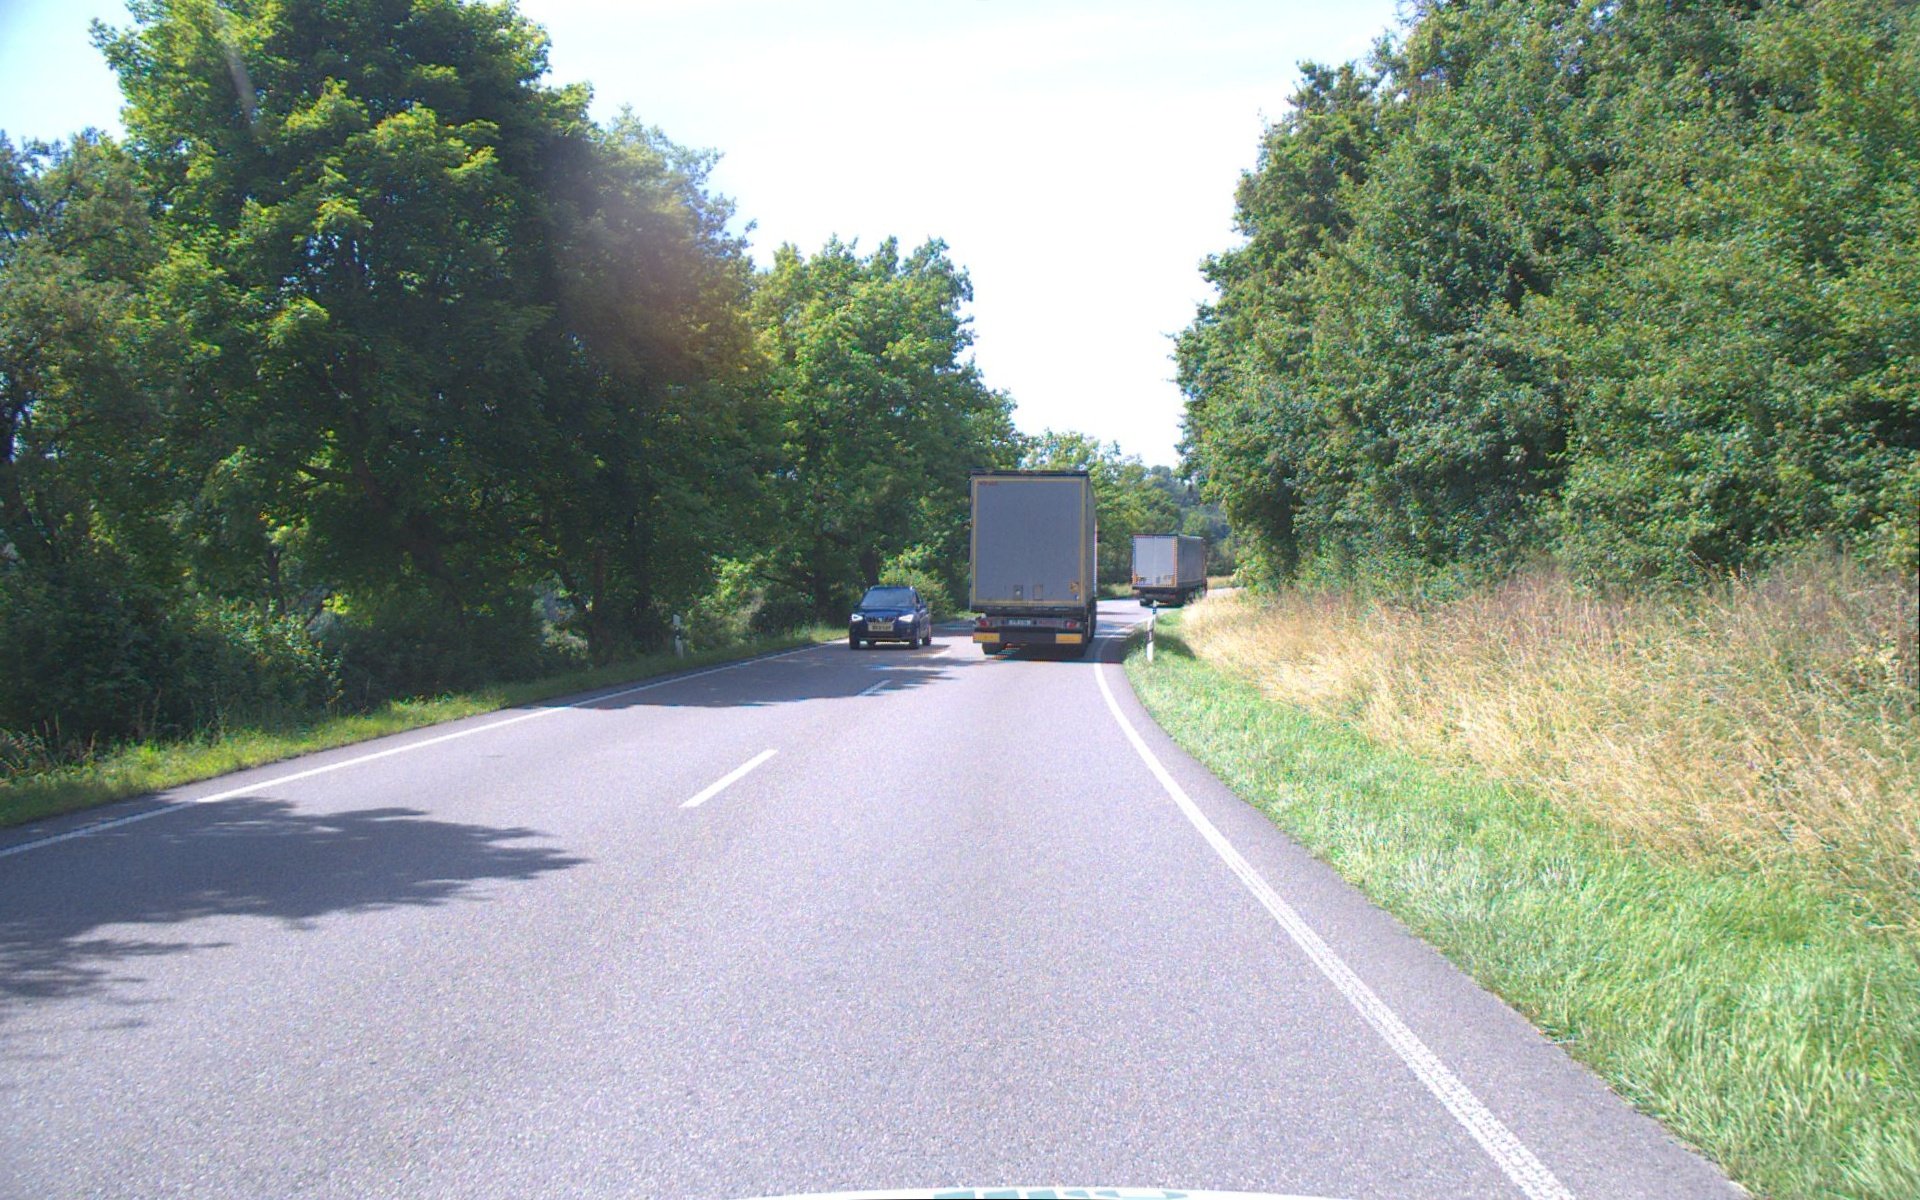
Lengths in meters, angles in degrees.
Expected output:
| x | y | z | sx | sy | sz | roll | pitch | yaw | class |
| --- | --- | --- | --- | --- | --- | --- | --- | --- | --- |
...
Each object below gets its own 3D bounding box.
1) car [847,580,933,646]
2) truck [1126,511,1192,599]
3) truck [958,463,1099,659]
| x | y | z | sx | sy | sz | roll | pitch | yaw | class |
| --- | --- | --- | --- | --- | --- | --- | --- | --- | --- |
| -1.732 | 0.306 | 41.907 | 1.634 | 1.558 | 3.960 | -1 | 0 | 5 | car |
| 12.131 | -2.697 | 99.451 | 3.038 | 4.787 | 16.605 | -1 | 1 | 10 | truck |
| 2.082 | -0.986 | 42.578 | 2.742 | 4.139 | 15.337 | 0 | 1 | 6 | truck |
